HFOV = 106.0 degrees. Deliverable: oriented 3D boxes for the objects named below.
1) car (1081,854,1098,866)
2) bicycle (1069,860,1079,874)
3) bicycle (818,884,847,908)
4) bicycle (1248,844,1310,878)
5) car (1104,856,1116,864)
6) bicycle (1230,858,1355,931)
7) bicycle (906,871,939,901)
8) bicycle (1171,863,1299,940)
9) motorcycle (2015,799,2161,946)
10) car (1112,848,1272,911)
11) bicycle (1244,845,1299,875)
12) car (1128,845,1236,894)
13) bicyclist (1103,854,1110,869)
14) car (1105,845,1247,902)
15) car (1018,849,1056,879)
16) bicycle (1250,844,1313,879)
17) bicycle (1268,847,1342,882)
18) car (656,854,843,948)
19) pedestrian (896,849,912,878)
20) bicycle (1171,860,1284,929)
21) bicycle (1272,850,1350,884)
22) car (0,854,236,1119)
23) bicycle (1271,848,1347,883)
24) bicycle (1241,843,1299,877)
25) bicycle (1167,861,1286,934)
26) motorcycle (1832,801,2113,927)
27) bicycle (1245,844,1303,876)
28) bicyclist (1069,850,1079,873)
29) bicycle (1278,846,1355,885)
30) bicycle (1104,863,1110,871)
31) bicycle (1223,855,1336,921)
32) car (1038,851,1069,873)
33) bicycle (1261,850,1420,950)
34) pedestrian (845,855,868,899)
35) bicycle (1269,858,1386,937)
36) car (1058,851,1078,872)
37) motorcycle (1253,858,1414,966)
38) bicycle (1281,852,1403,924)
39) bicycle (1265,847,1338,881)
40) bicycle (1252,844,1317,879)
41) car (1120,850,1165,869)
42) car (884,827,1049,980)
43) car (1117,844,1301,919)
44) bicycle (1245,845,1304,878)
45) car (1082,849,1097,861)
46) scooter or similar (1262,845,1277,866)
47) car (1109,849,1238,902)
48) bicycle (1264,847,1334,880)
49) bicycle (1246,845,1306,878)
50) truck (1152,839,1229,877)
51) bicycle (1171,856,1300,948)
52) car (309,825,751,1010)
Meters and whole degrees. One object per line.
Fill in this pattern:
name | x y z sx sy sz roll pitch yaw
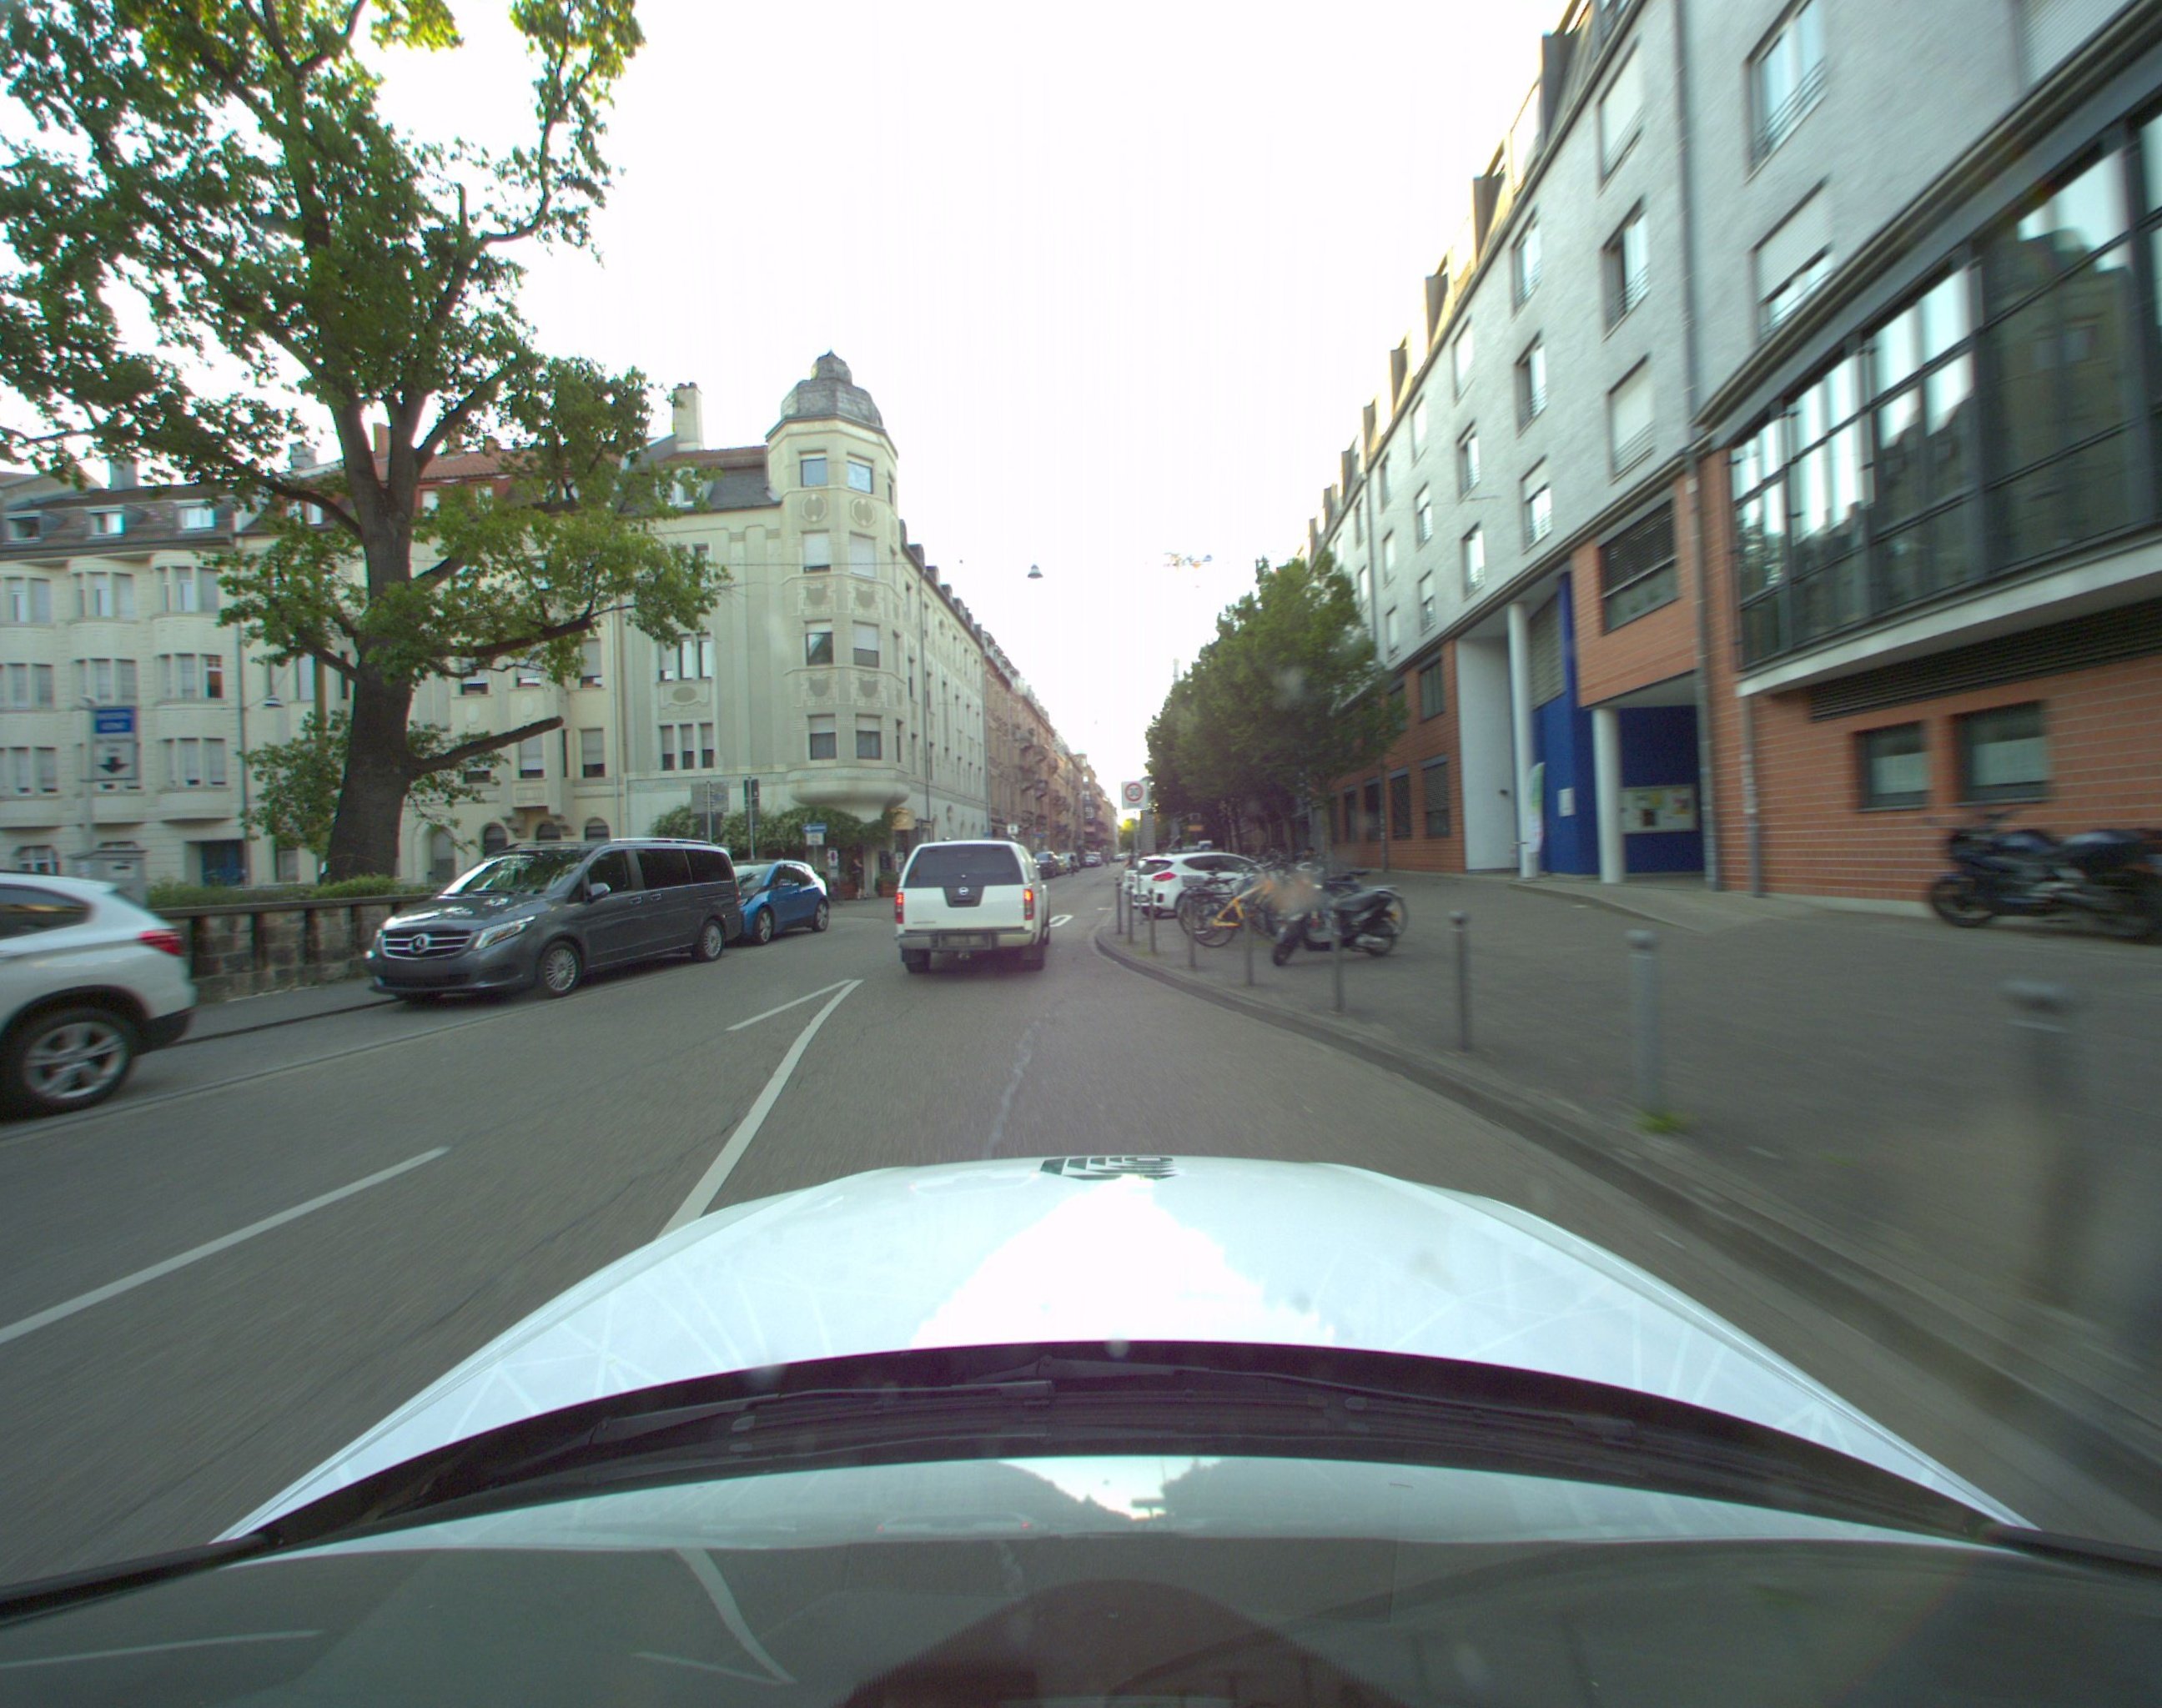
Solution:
car | 1.115 0.725 105.013 1.783 1.530 4.005 -1 0 5
bicycle | -0.516 1.007 62.497 0.612 1.040 1.906 -2 0 4
bicycle | -9.024 1.519 29.583 0.421 0.695 1.780 -2 2 2
bicycle | 8.612 0.310 35.541 2.521 1.379 0.600 -2 0 6
car | 5.568 1.168 157.272 1.837 1.552 4.364 -2 0 7
bicycle | 3.405 0.645 13.170 1.850 1.038 0.402 -4 0 2
bicycle | -5.994 1.195 30.906 0.420 1.012 1.727 -2 1 18
bicycle | 2.375 0.730 12.707 1.850 1.038 0.472 -4 0 2
motorcycle | 8.877 0.121 6.089 0.775 1.139 2.409 -4 0 -8
car | 3.079 0.692 22.496 4.011 1.473 1.858 -2 -2 -29
bicycle | 9.272 0.291 39.771 2.521 1.379 0.600 -2 0 6
car | 3.750 0.556 30.071 3.616 1.580 1.700 -2 0 -29
bicyclist | 3.242 0.943 102.815 0.797 1.849 0.944 -1 0 2
car | 2.933 0.587 25.038 4.009 1.523 1.695 -2 -2 -27
car | -2.995 0.677 56.717 1.896 1.925 4.953 -1 0 5
bicycle | 8.556 0.314 34.886 2.521 1.379 0.600 -2 0 6
bicycle | 8.217 0.376 29.951 2.521 1.166 0.563 -2 0 6
car | -6.332 0.823 16.083 1.632 1.555 4.011 -2 0 6
pedestrian | -8.321 0.445 38.288 0.536 1.350 0.519 -2 -1 5
bicycle | 2.562 0.709 14.322 1.850 1.066 0.446 -4 0 2
bicycle | 8.077 0.463 28.672 2.521 0.959 0.681 -6 -1 6
car | -7.488 0.831 3.986 1.863 1.592 4.472 -2 0 3
bicycle | 8.185 0.412 29.320 2.521 1.166 0.563 -2 0 6
bicycle | 8.912 0.292 38.470 2.521 1.244 0.600 -8 -1 6
bicycle | 2.420 0.721 13.660 1.850 1.066 0.446 -4 0 2
motorcycle | 9.118 0.094 8.493 0.586 1.103 2.084 -5 0 1
bicycle | 8.931 0.287 37.697 2.521 1.379 0.600 -2 0 6
bicyclist | -0.526 0.565 62.541 0.600 1.684 1.144 -2 0 5
bicycle | 7.933 0.389 27.470 2.334 1.099 0.681 -6 -1 6
bicycle | 3.271 1.673 102.815 0.797 0.947 2.006 -1 0 2
bicycle | 3.631 0.617 14.980 1.903 1.066 0.524 -4 0 2
car | -2.120 0.626 64.568 1.985 1.653 4.004 -2 0 4
bicycle | 3.453 0.605 10.960 1.851 1.146 0.660 -5 0 3
pedestrian | -8.747 0.881 31.718 0.561 1.675 0.620 -2 -1 44
bicycle | 3.645 0.631 12.107 1.533 1.038 0.472 -4 0 2
car | -1.157 0.687 76.129 1.552 1.921 3.860 0 0 4
motorcycle | 2.974 0.669 9.683 1.642 1.101 0.646 -5 0 -5
bicycle | 4.437 0.572 13.895 1.850 1.066 0.524 -4 0 2
bicycle | 8.259 0.365 30.561 2.521 1.166 0.563 -2 0 6
bicycle | 8.526 0.312 34.172 2.521 1.379 0.600 -2 0 6
car | 6.082 0.545 79.859 4.170 1.780 1.824 -1 0 10
car | -1.474 0.623 12.217 1.928 1.794 4.617 -2 -1 -2
car | 3.062 0.600 19.408 4.007 1.506 1.756 -2 0 -25
bicycle | 8.786 0.341 37.008 2.521 1.379 0.600 -2 0 6
car | 1.157 0.177 110.780 1.702 1.530 4.005 -1 0 4
scooter or similar | 11.700 0.079 50.542 0.365 1.218 1.714 -6 -1 28
car | 3.110 0.672 27.207 4.009 1.537 1.621 -2 0 -27
bicycle | 8.321 0.358 31.170 2.521 1.166 0.563 -2 0 6
bicycle | 8.689 0.330 36.330 2.521 1.379 0.600 -2 0 6
truck | 9.200 0.350 68.646 6.289 2.977 2.267 -1 -3 5
bicycle | 2.187 0.677 11.648 1.701 1.176 0.472 -4 0 2
car | -6.807 0.660 11.087 1.984 1.866 5.298 -2 0 6
